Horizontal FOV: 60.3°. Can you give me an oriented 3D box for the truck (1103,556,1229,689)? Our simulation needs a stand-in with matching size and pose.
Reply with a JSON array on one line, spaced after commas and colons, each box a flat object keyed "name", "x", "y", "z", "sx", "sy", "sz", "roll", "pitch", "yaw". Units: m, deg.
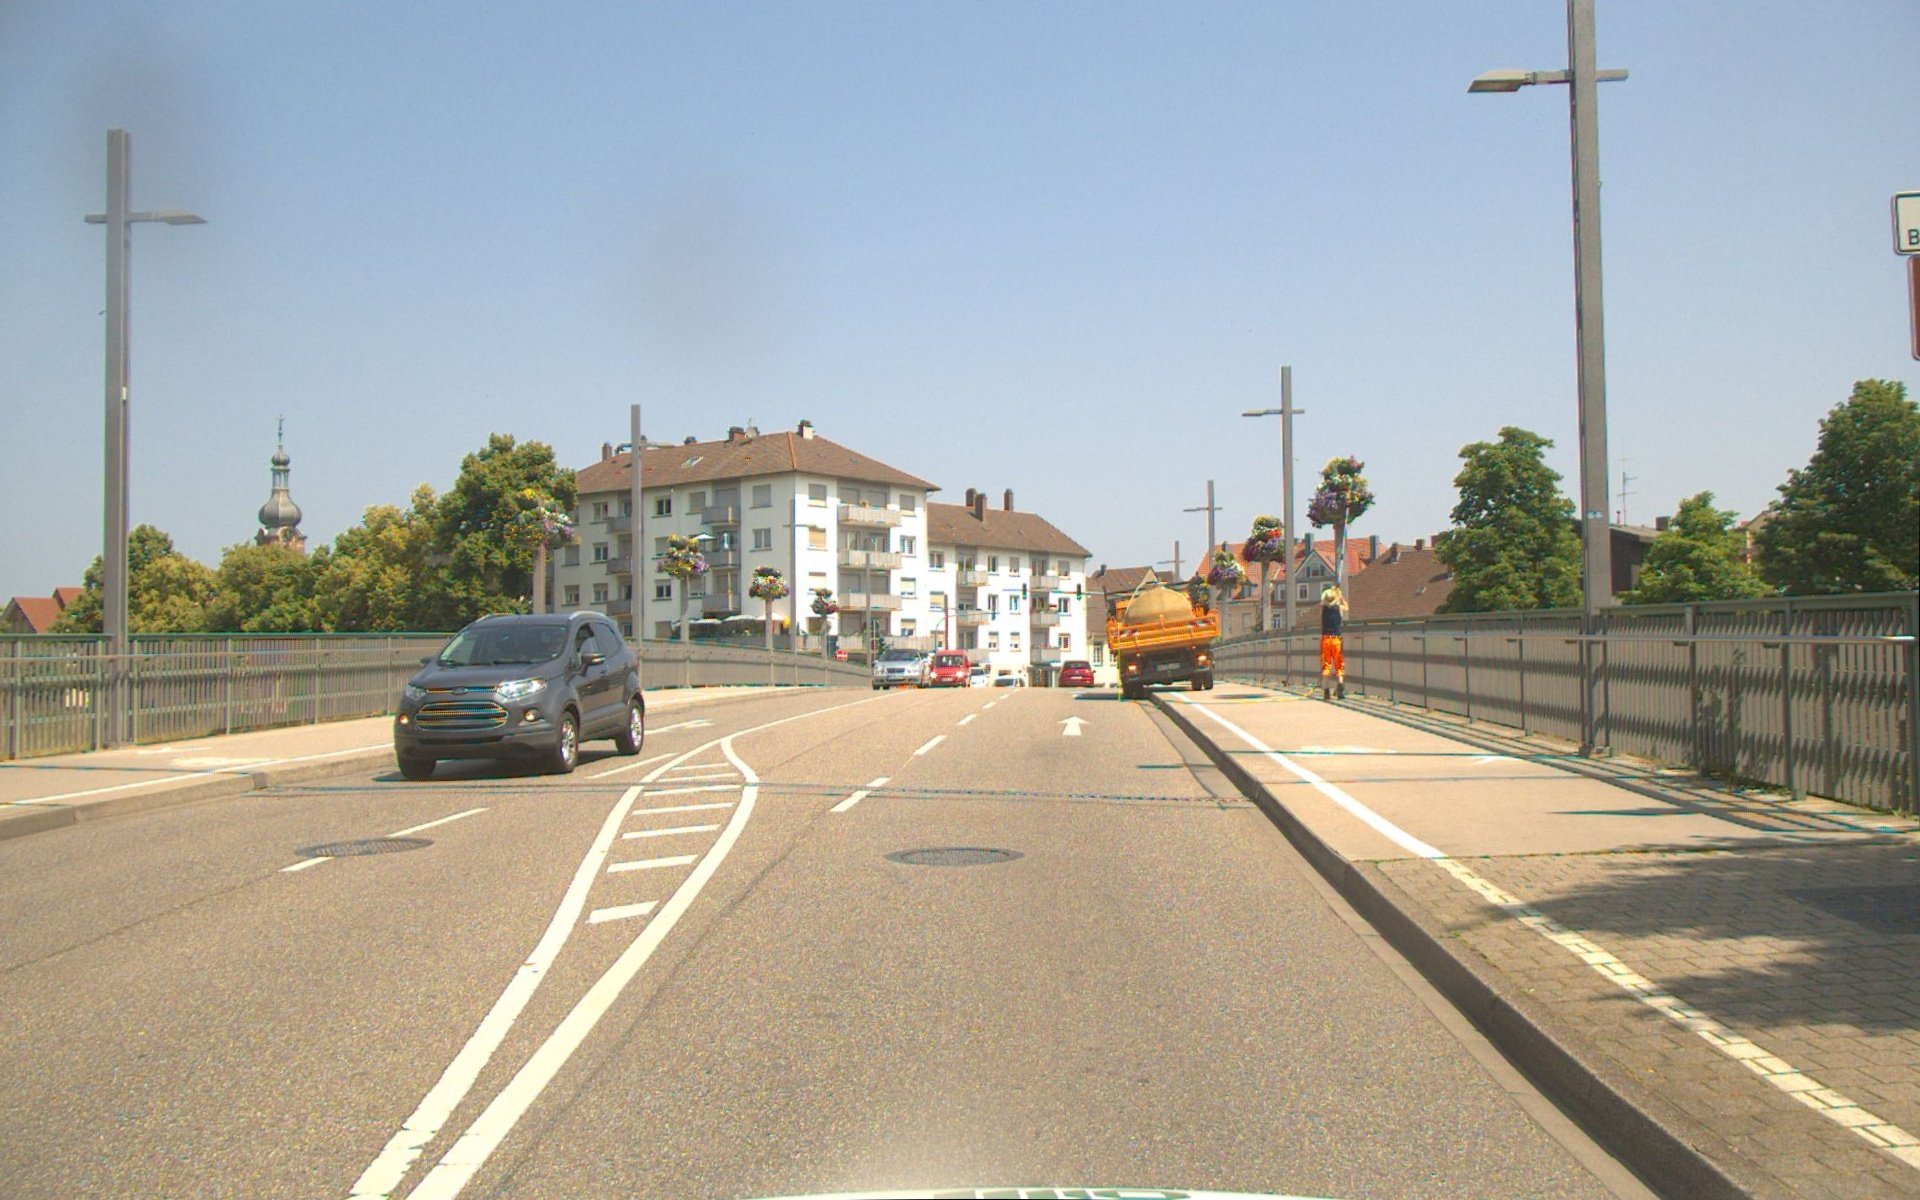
[{"name": "truck", "x": 4.584, "y": 0.573, "z": 37.665, "sx": 2.551, "sy": 2.738, "sz": 5.825, "roll": -1, "pitch": -2, "yaw": 5}]

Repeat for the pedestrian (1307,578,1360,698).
[{"name": "pedestrian", "x": 6.299, "y": 0.653, "z": 27.877, "sx": 0.666, "sy": 1.994, "sz": 0.541, "roll": 2, "pitch": -4, "yaw": -38}]

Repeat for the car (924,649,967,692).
[{"name": "car", "x": -0.600, "y": 3.057, "z": 71.705, "sx": 1.700, "sy": 1.808, "sz": 4.176, "roll": -1, "pitch": -3, "yaw": 1}]

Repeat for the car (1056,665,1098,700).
[{"name": "car", "x": 5.849, "y": 4.123, "z": 83.162, "sx": 1.949, "sy": 1.641, "sz": 4.343, "roll": -1, "pitch": -2, "yaw": 2}]

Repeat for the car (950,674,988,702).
[{"name": "car", "x": 0.515, "y": 4.659, "z": 87.448, "sx": 1.805, "sy": 1.457, "sz": 4.714, "roll": 0, "pitch": -3, "yaw": 3}]

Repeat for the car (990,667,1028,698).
[{"name": "car", "x": 3.209, "y": 5.307, "z": 107.067, "sx": 1.721, "sy": 1.890, "sz": 4.650, "roll": 1, "pitch": -1, "yaw": 11}]

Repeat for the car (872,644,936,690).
[{"name": "car", "x": -1.870, "y": 2.245, "z": 56.383, "sx": 1.663, "sy": 1.382, "sz": 4.458, "roll": -3, "pitch": -1, "yaw": 4}]

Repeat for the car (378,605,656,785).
[{"name": "car", "x": -4.639, "y": 0.950, "z": 17.921, "sx": 1.700, "sy": 1.669, "sz": 3.923, "roll": -2, "pitch": -1, "yaw": 4}]
